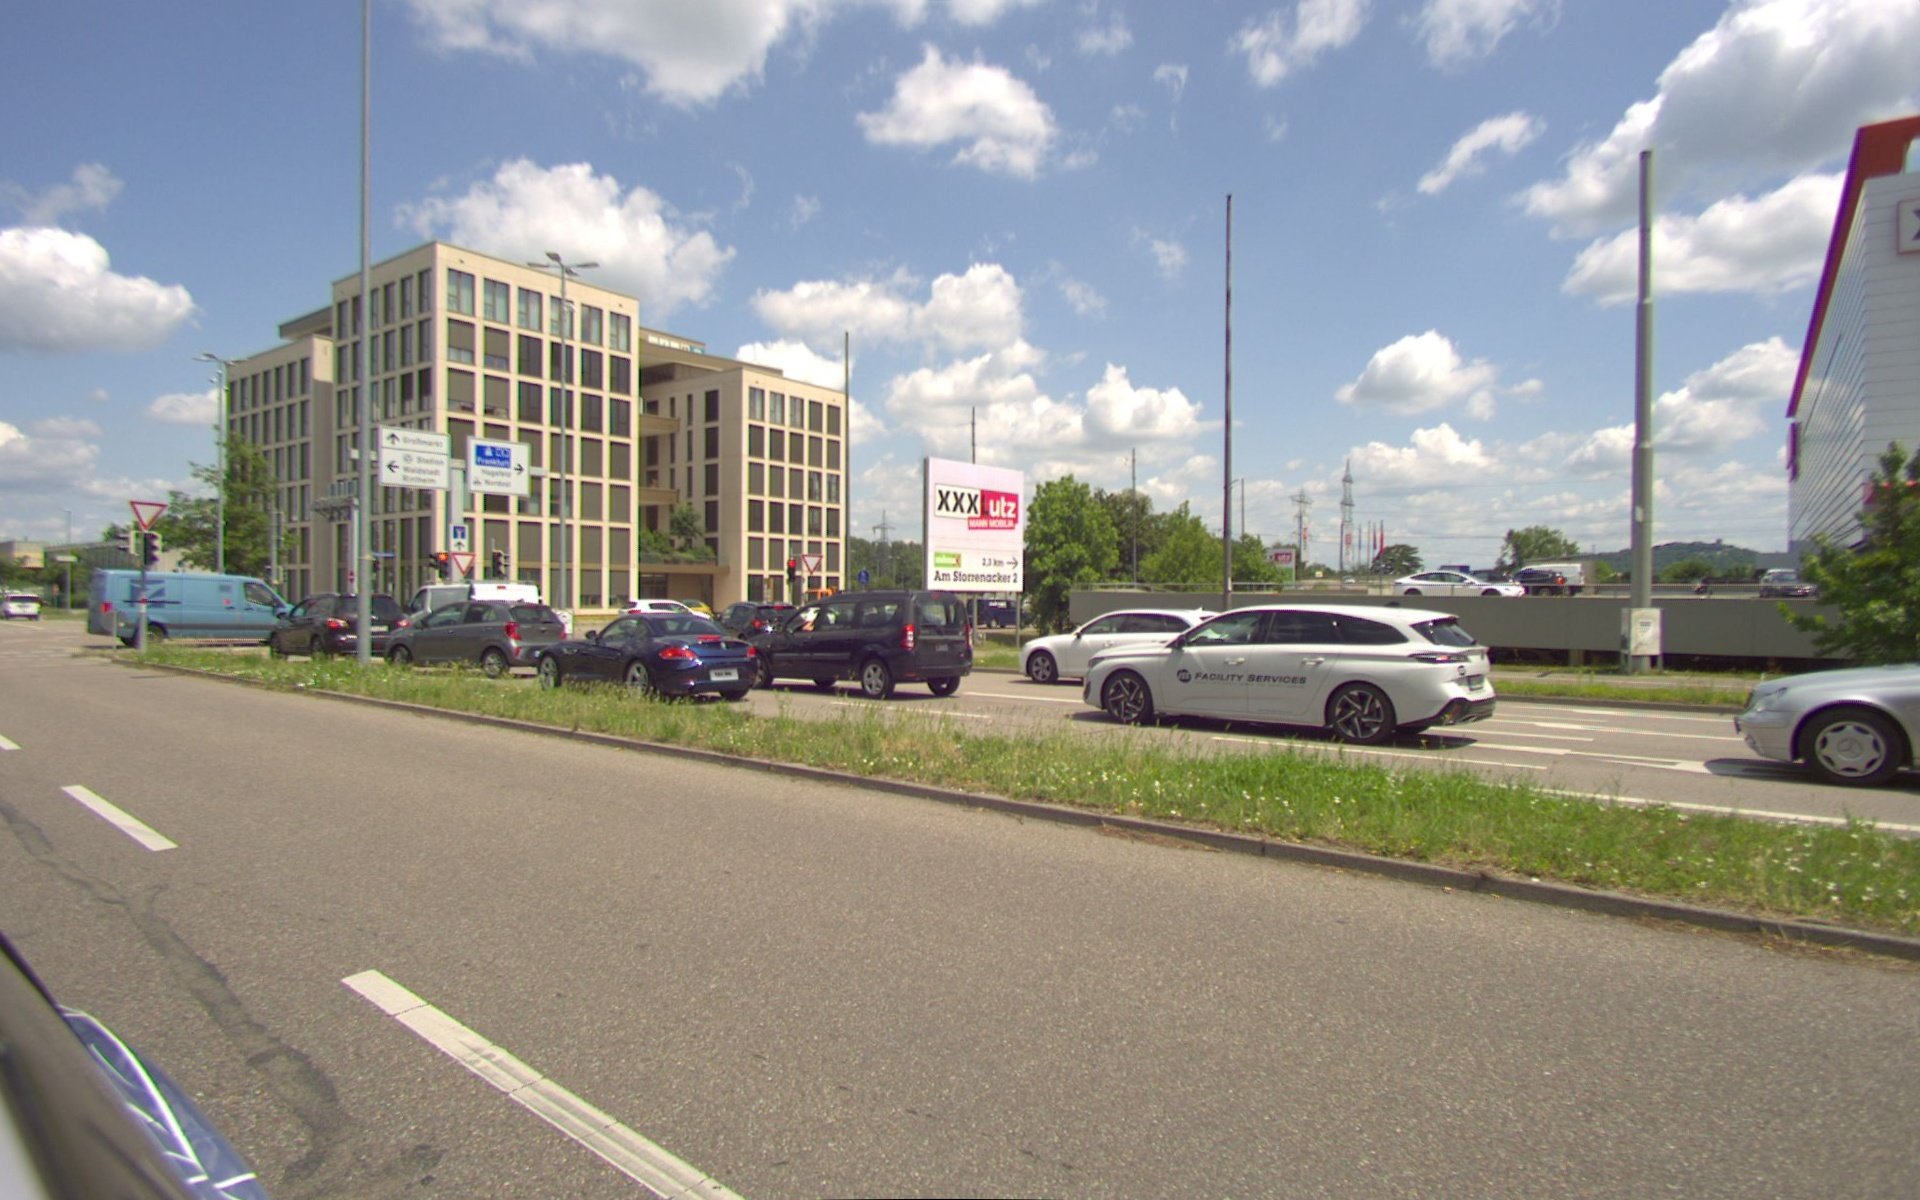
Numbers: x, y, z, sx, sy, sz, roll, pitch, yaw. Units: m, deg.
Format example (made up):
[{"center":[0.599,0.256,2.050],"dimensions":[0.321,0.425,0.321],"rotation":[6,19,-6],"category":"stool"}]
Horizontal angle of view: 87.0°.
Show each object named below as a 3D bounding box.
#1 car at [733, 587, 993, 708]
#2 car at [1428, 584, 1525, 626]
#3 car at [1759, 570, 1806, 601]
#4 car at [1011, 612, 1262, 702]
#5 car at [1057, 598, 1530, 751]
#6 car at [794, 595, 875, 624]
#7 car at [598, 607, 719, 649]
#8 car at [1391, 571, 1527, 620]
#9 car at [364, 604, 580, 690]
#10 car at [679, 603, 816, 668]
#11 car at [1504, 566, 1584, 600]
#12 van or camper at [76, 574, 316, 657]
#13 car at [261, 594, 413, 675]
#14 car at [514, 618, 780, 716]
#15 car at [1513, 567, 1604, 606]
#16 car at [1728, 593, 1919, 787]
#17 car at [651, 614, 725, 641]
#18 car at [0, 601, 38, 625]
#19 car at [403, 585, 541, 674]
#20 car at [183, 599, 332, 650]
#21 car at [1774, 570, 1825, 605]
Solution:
[{"center":[-1.668,0.736,16.454],"dimensions":[4.223,1.714,1.773],"rotation":[-2,-2,40],"category":"car"},{"center":[24.148,0.267,47.315],"dimensions":[3.824,1.847,1.834],"rotation":[-1,-2,35],"category":"car"},{"center":[45.099,-0.769,55.532],"dimensions":[1.853,1.556,3.784],"rotation":[-1,-2,38],"category":"car"},{"center":[3.161,0.998,18.672],"dimensions":[4.356,1.484,1.602],"rotation":[-2,-2,41],"category":"car"},{"center":[3.613,0.770,11.598],"dimensions":[4.841,1.413,1.773],"rotation":[-2,-3,40],"category":"car"},{"center":[-10.745,0.843,86.779],"dimensions":[6.435,2.346,2.857],"rotation":[1,-4,-42],"category":"car"},{"center":[-13.389,1.214,45.221],"dimensions":[1.862,1.741,4.960],"rotation":[0,-1,40],"category":"car"},{"center":[20.163,-0.137,41.002],"dimensions":[4.666,1.847,1.833],"rotation":[-1,-2,37],"category":"car"},{"center":[-9.631,0.915,20.017],"dimensions":[3.743,1.572,1.785],"rotation":[-1,-2,21],"category":"car"},{"center":[-6.008,0.985,28.368],"dimensions":[3.867,1.714,1.773],"rotation":[-2,-2,40],"category":"car"},{"center":[33.794,-0.956,58.564],"dimensions":[3.827,1.847,1.833],"rotation":[-1,-2,37],"category":"car"},{"center":[-24.214,0.521,32.346],"dimensions":[1.996,2.399,5.779],"rotation":[-1,-2,36],"category":"van or camper"},{"center":[-14.101,0.775,22.816],"dimensions":[4.168,1.657,1.773],"rotation":[-2,-2,41],"category":"car"},{"center":[-4.772,0.932,15.145],"dimensions":[4.303,1.260,1.773],"rotation":[-2,-2,40],"category":"car"},{"center":[31.076,-0.667,52.569],"dimensions":[3.829,1.847,1.832],"rotation":[-1,-2,39],"category":"car"},{"center":[8.591,0.666,7.377],"dimensions":[4.671,1.429,1.773],"rotation":[-2,-3,40],"category":"car"},{"center":[-17.092,1.696,63.720],"dimensions":[1.995,1.644,4.260],"rotation":[-1,-2,35],"category":"car"},{"center":[-68.256,0.925,72.901],"dimensions":[4.481,1.731,2.260],"rotation":[0,-1,41],"category":"car"},{"center":[-12.141,0.733,25.105],"dimensions":[3.574,2.059,1.838],"rotation":[-2,-2,41],"category":"car"},{"center":[-25.570,0.872,36.929],"dimensions":[1.862,1.741,4.126],"rotation":[0,-1,40],"category":"car"},{"center":[39.141,-0.563,47.146],"dimensions":[1.591,1.481,3.779],"rotation":[-2,-2,43],"category":"car"}]
